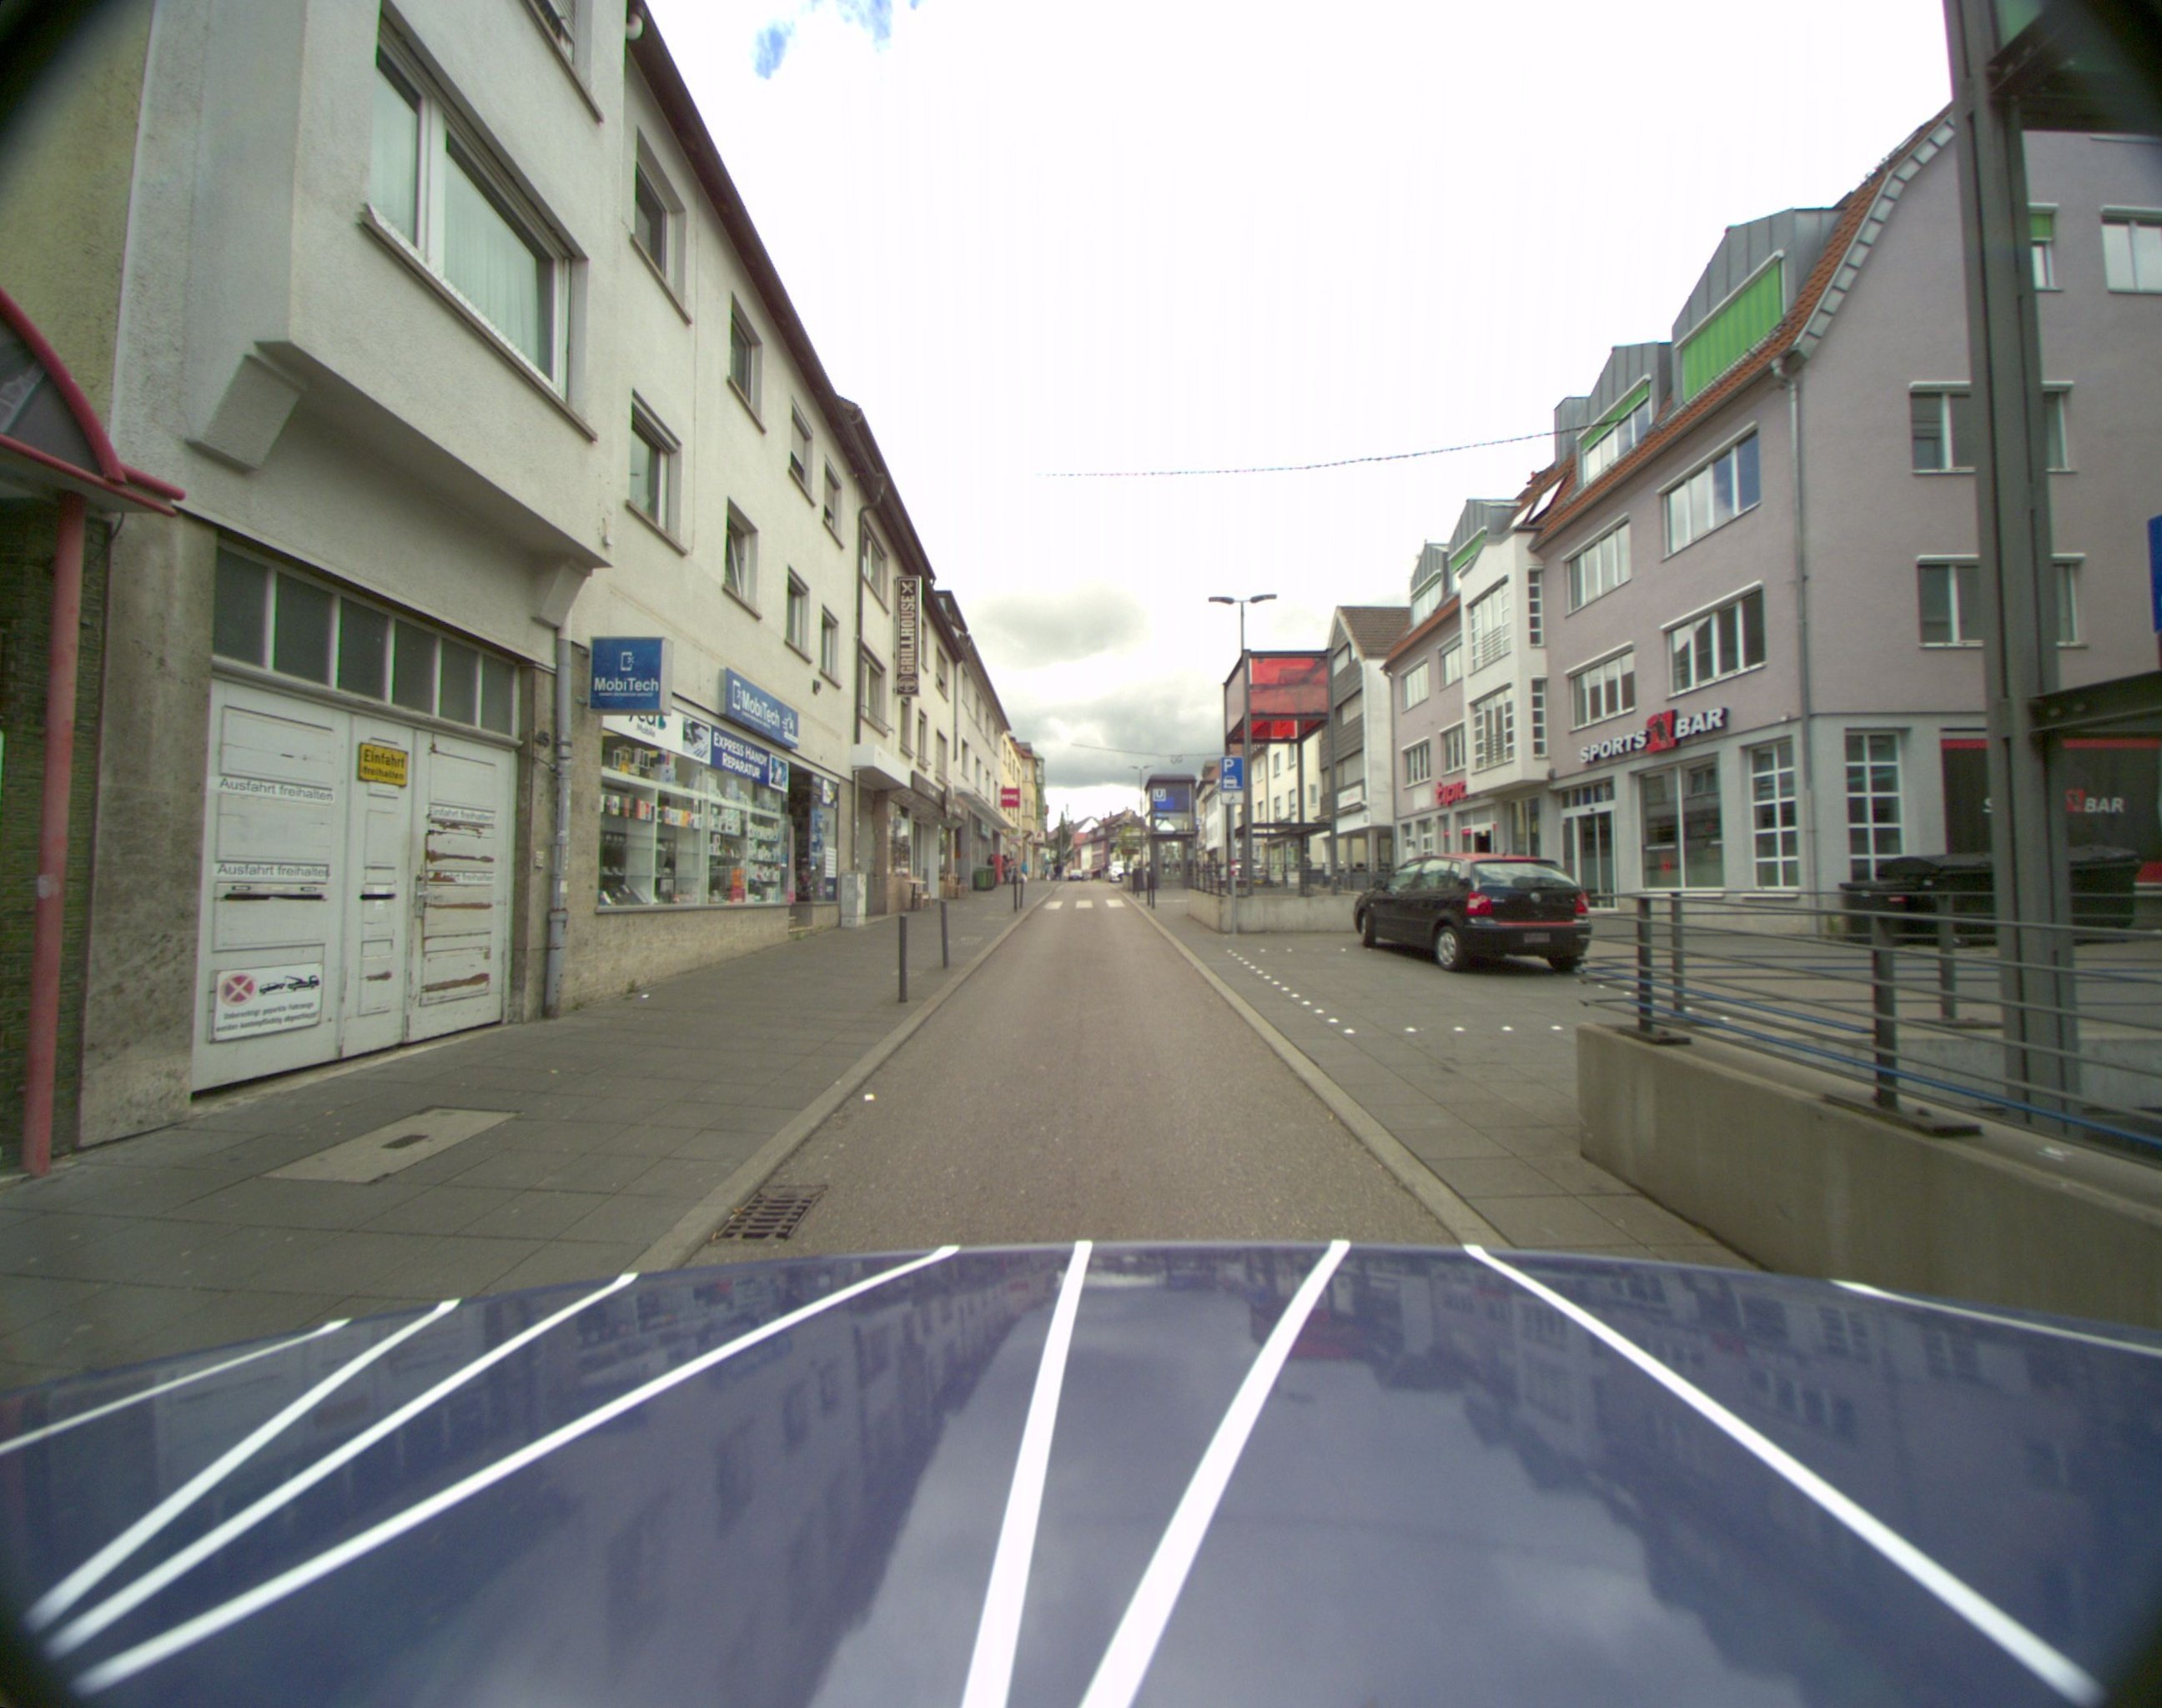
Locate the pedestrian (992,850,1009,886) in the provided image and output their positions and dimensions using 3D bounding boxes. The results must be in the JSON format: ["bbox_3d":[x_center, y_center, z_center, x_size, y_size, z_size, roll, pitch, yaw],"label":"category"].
[{"bbox_3d":[-3.982,0.694,37.664,0.628,1.716,0.606,-3,1,-23],"label":"pedestrian"}]

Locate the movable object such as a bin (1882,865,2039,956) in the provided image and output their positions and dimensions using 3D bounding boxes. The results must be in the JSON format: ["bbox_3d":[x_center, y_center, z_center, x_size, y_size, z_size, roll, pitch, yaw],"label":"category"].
[{"bbox_3d":[14.090,0.873,12.215,1.286,1.368,1.067,-1,0,0],"label":"movable object such as a bin"}]

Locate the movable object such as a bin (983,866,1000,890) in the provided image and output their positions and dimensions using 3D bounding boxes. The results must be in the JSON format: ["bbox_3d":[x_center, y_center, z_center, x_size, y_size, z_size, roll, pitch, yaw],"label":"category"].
[{"bbox_3d":[-4.040,1.070,34.290,0.652,1.074,0.673,0,0,1],"label":"movable object such as a bin"}]

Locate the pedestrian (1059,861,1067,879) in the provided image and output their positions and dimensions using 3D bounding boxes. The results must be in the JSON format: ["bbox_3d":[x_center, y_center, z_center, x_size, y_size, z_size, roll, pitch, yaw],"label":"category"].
[{"bbox_3d":[-1.648,1.445,69.581,0.657,1.620,0.743,-2,1,-2],"label":"pedestrian"}]

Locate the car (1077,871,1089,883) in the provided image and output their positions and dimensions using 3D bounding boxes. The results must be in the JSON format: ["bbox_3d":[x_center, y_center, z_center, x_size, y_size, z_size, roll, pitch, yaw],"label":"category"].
[{"bbox_3d":[0.240,3.698,121.718,1.741,1.608,3.999,-2,0,-2],"label":"car"}]

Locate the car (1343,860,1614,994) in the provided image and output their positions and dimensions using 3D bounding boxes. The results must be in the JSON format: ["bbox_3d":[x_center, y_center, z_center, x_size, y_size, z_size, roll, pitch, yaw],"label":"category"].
[{"bbox_3d":[5.146,0.837,10.484,1.573,1.466,3.854,0,0,-3],"label":"car"}]

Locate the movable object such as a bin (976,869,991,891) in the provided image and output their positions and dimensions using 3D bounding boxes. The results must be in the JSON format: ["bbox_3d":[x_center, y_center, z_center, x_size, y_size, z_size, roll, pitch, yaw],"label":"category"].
[{"bbox_3d":[-4.231,1.120,33.015,0.568,0.951,0.498,0,0,0],"label":"movable object such as a bin"}]

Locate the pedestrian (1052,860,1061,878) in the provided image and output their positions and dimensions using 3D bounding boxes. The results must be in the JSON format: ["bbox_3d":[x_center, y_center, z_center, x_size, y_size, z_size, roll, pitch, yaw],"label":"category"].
[{"bbox_3d":[-2.262,1.416,69.883,0.657,1.620,0.743,-2,1,-6],"label":"pedestrian"}]

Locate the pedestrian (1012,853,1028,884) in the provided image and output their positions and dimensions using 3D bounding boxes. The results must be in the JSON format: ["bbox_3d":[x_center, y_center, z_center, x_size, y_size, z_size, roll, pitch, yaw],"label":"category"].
[{"bbox_3d":[-3.688,0.888,45.929,0.628,1.811,0.605,-3,1,-34],"label":"pedestrian"}]

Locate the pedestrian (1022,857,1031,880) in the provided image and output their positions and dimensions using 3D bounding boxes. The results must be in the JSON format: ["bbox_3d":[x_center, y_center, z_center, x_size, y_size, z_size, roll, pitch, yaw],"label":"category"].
[{"bbox_3d":[-3.986,1.078,55.662,0.627,1.620,0.607,-2,1,-5],"label":"pedestrian"}]

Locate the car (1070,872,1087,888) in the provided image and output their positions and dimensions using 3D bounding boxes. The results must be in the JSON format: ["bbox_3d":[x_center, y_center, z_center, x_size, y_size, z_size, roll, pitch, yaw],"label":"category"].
[{"bbox_3d":[-0.284,2.863,85.284,1.741,1.608,3.843,-2,0,0],"label":"car"}]

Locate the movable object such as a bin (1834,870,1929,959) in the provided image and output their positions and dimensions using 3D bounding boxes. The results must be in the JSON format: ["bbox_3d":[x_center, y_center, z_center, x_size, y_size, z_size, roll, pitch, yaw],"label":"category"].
[{"bbox_3d":[12.954,0.964,12.322,0.691,1.368,0.808,-1,0,0],"label":"movable object such as a bin"}]

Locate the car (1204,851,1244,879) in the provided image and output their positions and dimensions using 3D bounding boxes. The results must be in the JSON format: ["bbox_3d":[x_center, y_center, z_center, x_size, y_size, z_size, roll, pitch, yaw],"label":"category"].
[{"bbox_3d":[8.838,0.640,47.170,1.684,1.562,4.122,-2,0,0],"label":"car"}]

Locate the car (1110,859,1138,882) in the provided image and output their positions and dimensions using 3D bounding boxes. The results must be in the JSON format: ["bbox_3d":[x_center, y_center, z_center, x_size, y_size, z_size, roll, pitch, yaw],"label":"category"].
[{"bbox_3d":[2.992,1.133,53.025,1.754,1.452,3.601,-2,0,1],"label":"car"}]

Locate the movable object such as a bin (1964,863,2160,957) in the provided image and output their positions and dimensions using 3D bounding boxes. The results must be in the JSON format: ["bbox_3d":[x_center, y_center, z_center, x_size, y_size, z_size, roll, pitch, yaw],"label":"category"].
[{"bbox_3d":[15.412,0.843,12.003,1.286,1.368,1.407,-1,0,0],"label":"movable object such as a bin"}]

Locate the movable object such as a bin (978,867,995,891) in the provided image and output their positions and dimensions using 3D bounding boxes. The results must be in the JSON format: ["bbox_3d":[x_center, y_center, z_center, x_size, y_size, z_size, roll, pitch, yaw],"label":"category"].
[{"bbox_3d":[-4.176,1.101,33.627,0.670,1.024,0.560,0,0,0],"label":"movable object such as a bin"}]

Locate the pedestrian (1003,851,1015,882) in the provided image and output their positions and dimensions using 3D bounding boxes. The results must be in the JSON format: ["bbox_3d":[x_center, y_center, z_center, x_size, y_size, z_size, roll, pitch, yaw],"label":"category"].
[{"bbox_3d":[-3.970,0.701,42.117,0.627,1.716,0.607,1,1,-5],"label":"pedestrian"}]

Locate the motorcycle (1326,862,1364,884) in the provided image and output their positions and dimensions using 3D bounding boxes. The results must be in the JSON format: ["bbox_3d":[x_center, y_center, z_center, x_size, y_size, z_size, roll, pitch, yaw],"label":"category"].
[{"bbox_3d":[14.624,1.042,42.148,1.854,1.134,0.634,-2,1,0],"label":"motorcycle"}]

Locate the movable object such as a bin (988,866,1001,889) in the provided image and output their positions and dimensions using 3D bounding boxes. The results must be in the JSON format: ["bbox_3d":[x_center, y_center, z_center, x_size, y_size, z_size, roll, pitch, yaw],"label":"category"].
[{"bbox_3d":[-4.058,1.097,35.669,0.569,1.053,0.574,0,0,1],"label":"movable object such as a bin"}]

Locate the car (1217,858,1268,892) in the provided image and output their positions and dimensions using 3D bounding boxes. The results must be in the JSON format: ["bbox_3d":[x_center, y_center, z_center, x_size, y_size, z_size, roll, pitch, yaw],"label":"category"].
[{"bbox_3d":[8.257,1.041,39.175,1.684,1.562,4.122,-2,0,0],"label":"car"}]

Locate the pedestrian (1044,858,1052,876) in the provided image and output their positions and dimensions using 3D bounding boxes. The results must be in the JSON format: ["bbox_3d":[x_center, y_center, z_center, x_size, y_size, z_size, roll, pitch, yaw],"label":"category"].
[{"bbox_3d":[-3.022,1.231,69.984,0.657,1.620,0.743,-2,1,-6],"label":"pedestrian"}]

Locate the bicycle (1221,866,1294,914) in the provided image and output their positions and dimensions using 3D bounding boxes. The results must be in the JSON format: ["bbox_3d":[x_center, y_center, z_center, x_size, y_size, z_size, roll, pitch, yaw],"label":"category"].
[{"bbox_3d":[4.592,0.937,19.809,1.782,1.216,0.459,0,1,0],"label":"bicycle"}]

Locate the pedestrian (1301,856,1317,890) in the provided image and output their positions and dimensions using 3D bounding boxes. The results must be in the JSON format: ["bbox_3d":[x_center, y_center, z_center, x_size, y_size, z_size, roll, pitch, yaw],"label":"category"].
[{"bbox_3d":[11.480,0.958,38.276,0.592,1.706,0.513,-2,1,1],"label":"pedestrian"}]
